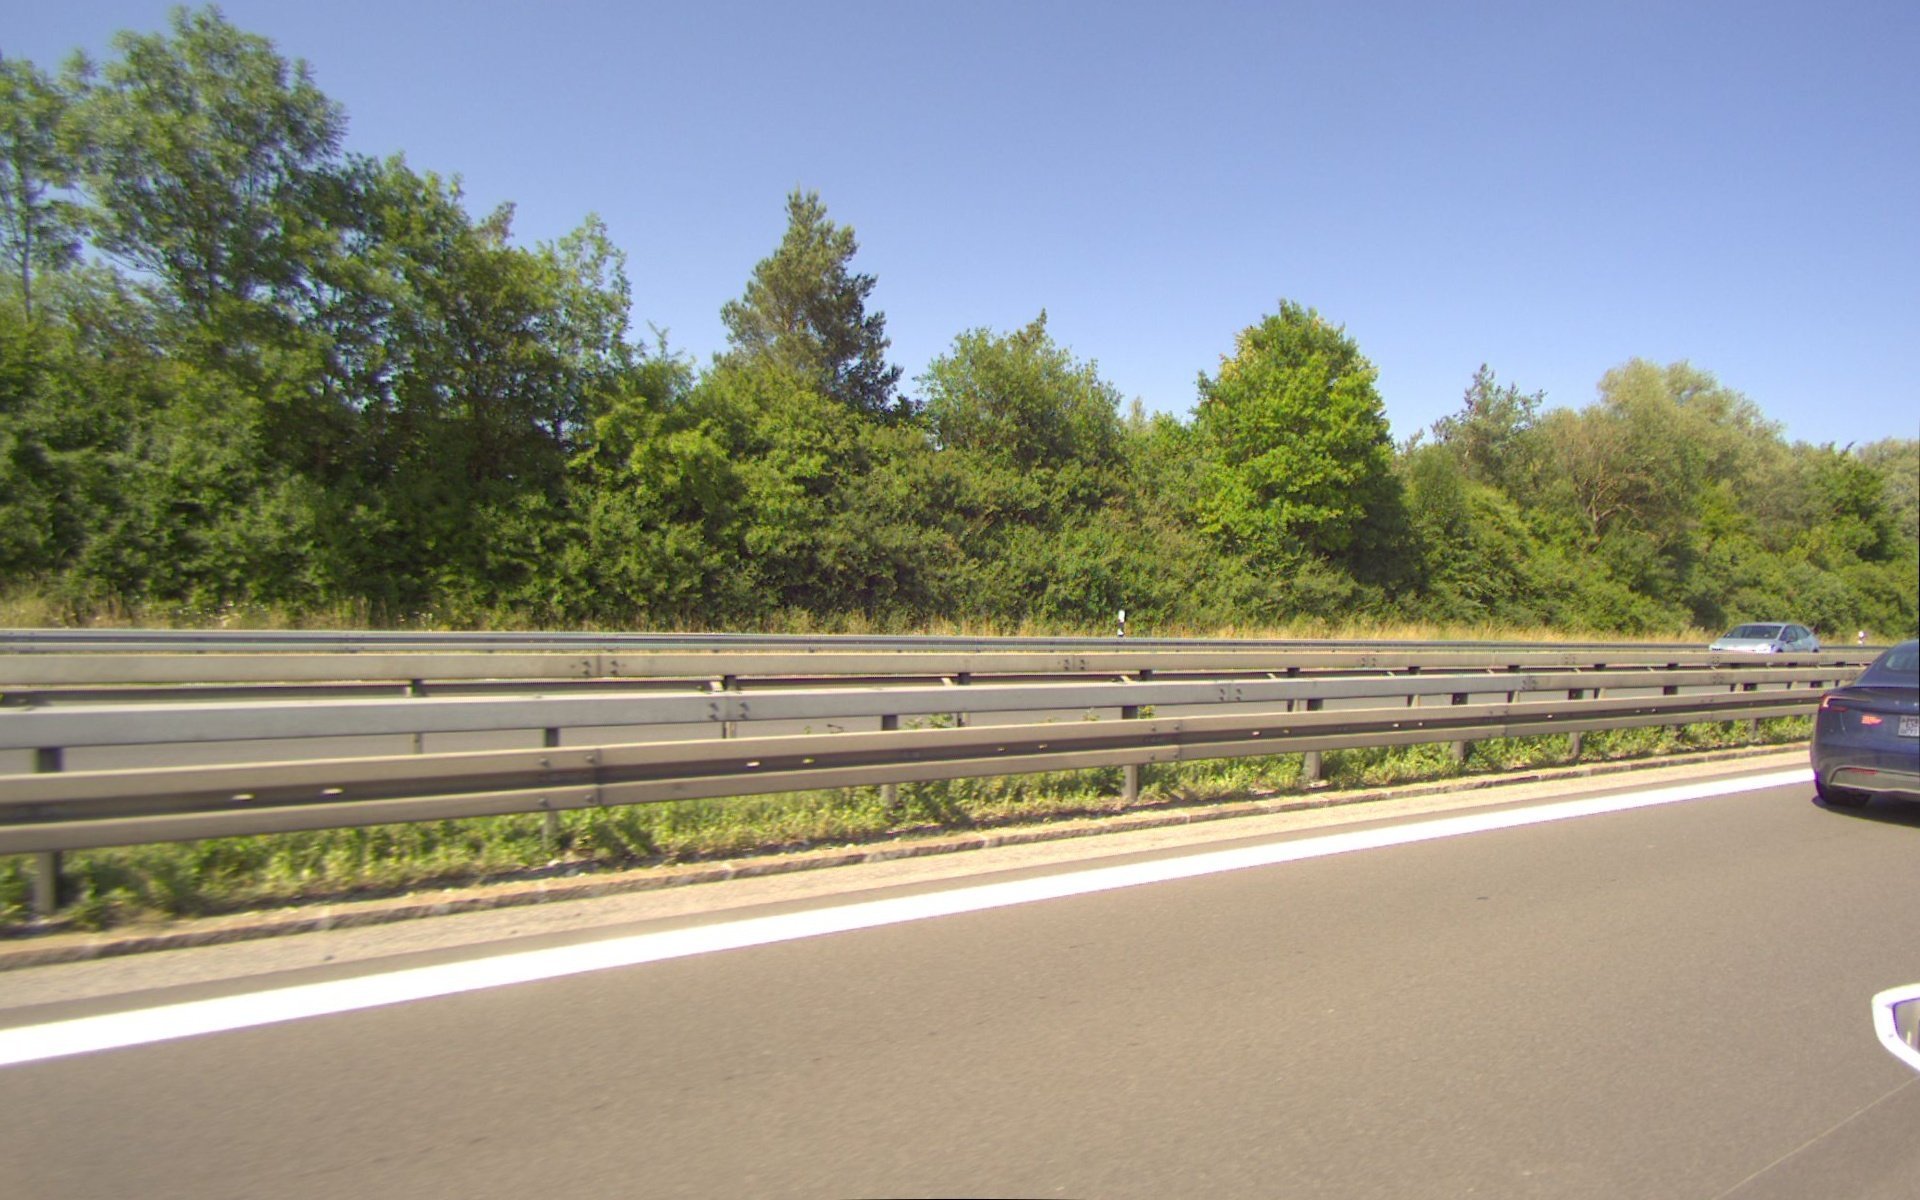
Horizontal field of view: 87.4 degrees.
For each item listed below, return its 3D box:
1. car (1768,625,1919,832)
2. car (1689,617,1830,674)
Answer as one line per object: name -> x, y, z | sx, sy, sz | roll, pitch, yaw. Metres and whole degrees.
car -> 9.346, 0.990, 8.638 | 5.798, 1.452, 1.838 | 1, 0, -31
car -> 25.118, 1.412, 31.527 | 4.583, 1.634, 1.984 | 2, 0, -31
